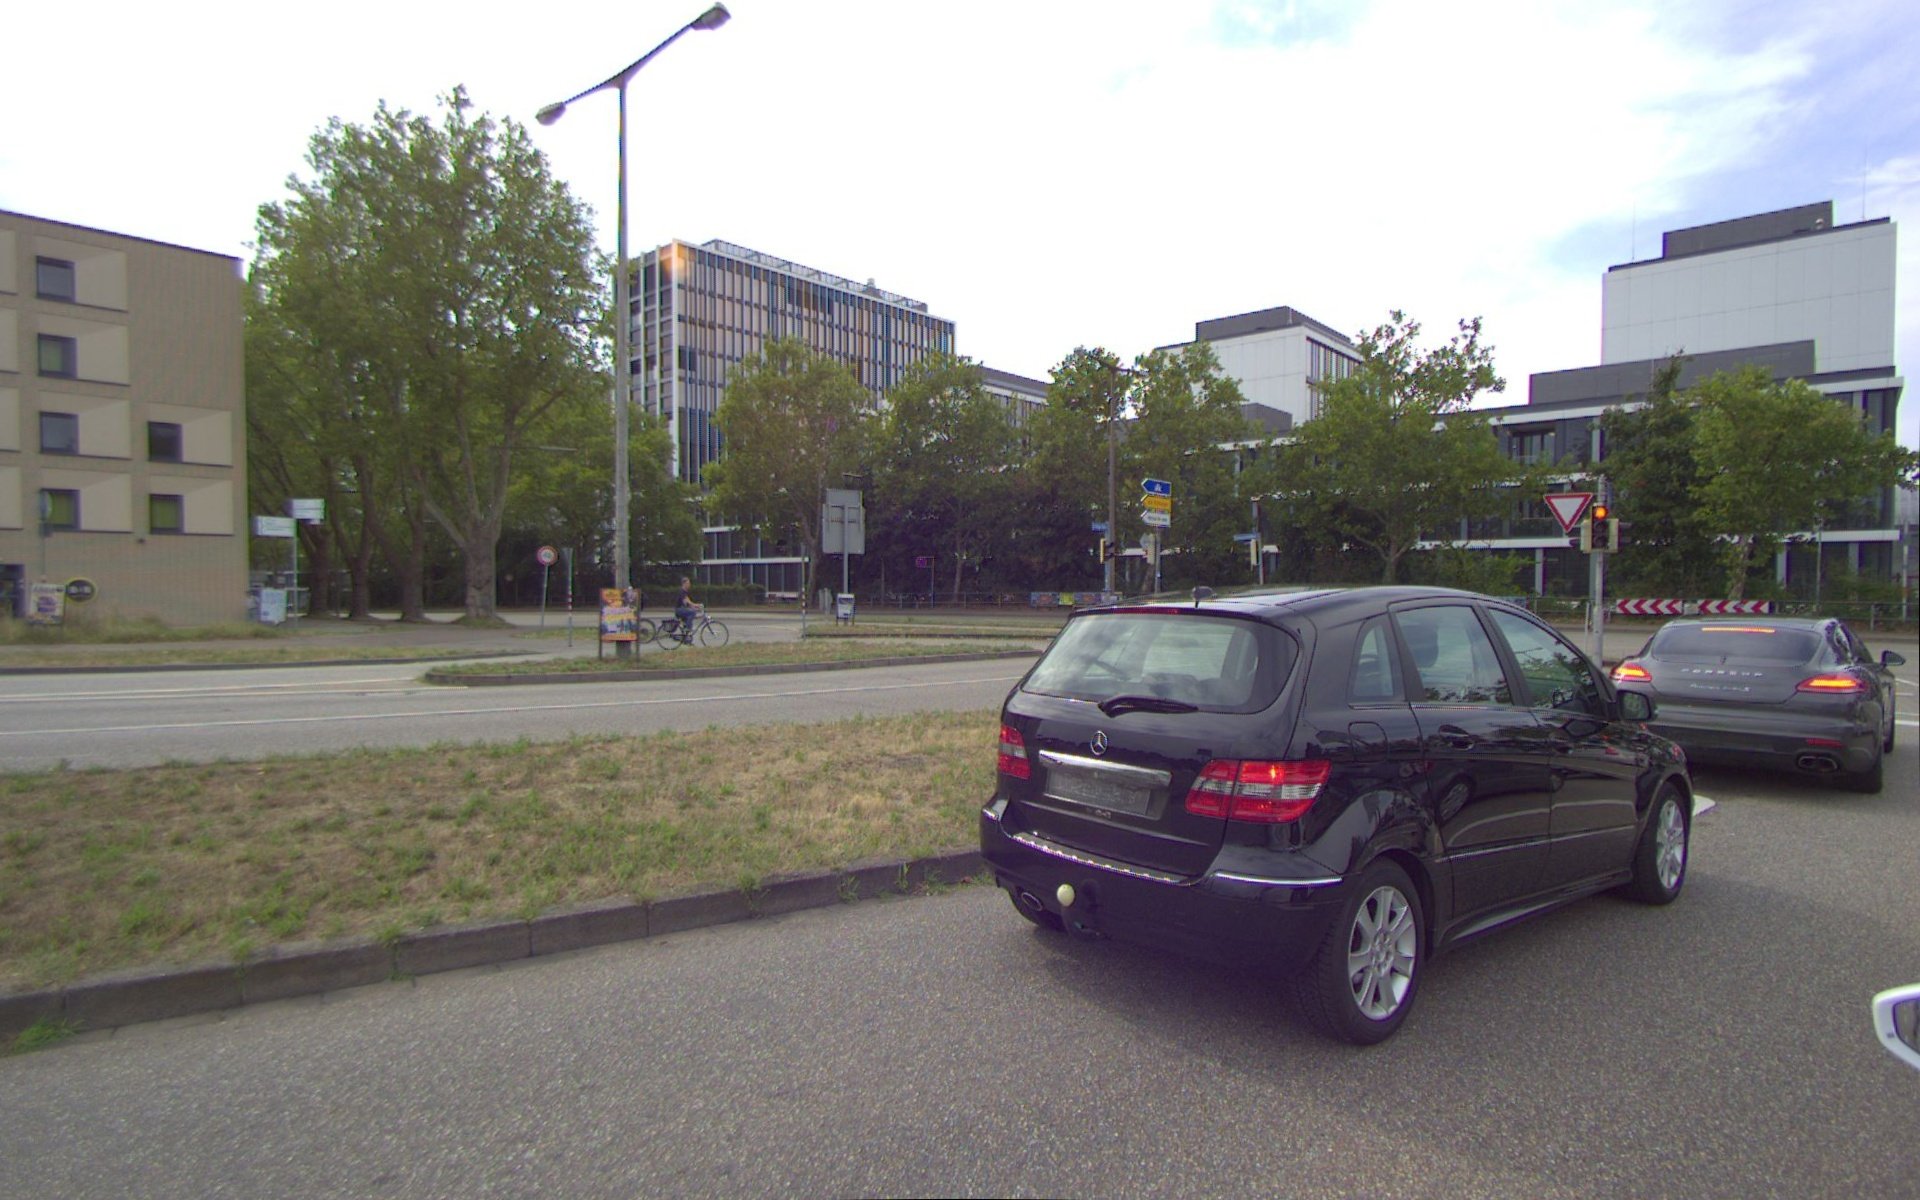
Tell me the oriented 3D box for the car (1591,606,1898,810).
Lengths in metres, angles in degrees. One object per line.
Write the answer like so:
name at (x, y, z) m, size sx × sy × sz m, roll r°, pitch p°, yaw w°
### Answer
car at (7.727, 0.809, 9.686) m, size 1.800 × 1.433 × 4.746 m, roll 2°, pitch 1°, yaw 44°

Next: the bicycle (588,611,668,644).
bicycle at (-10.124, 0.833, 30.671) m, size 2.190 × 0.965 × 0.812 m, roll 1°, pitch 0°, yaw 12°

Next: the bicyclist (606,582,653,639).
bicyclist at (-10.070, 0.317, 30.654) m, size 1.093 × 1.719 × 0.813 m, roll 1°, pitch 0°, yaw 12°

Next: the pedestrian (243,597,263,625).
pedestrian at (-28.787, 0.458, 40.892) m, size 0.492 × 1.140 × 0.463 m, roll 1°, pitch 0°, yaw 16°

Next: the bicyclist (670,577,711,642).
bicyclist at (-6.929, 0.239, 25.889) m, size 0.903 × 1.636 × 0.741 m, roll 1°, pitch 0°, yaw -6°

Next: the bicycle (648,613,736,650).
bicycle at (-6.890, 0.805, 25.905) m, size 2.079 × 0.921 × 0.741 m, roll 1°, pitch 0°, yaw -6°

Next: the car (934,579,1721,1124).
car at (1.989, 0.714, 4.877) m, size 4.000 × 1.596 × 1.743 m, roll -1°, pitch 2°, yaw -38°
